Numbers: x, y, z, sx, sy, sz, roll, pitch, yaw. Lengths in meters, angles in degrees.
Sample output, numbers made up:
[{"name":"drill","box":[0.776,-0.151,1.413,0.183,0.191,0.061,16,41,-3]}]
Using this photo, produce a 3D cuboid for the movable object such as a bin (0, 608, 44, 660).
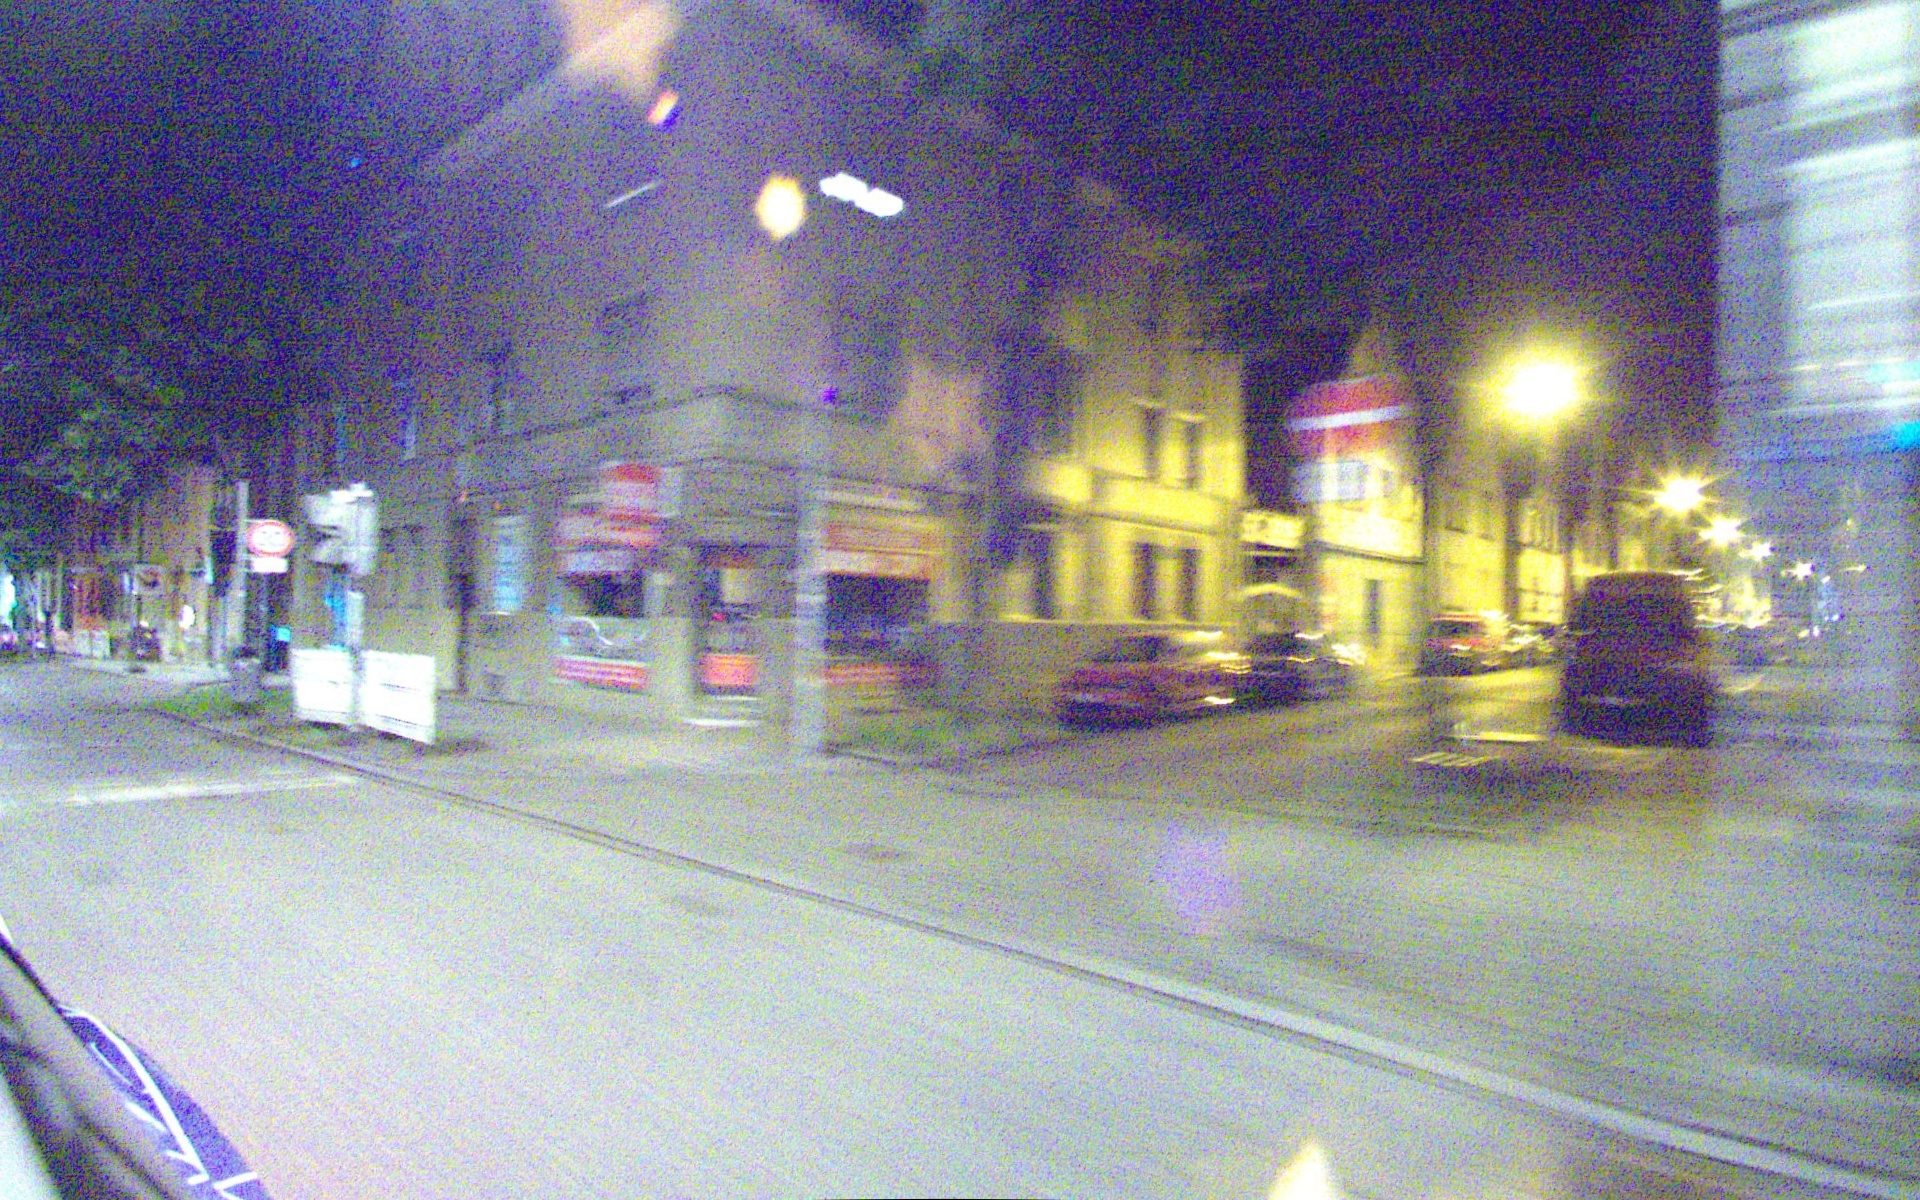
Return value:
[{"name":"movable object such as a bin","box":[-50.215,1.824,54.010,3.909,2.647,1.554,-2,-3,43]}]

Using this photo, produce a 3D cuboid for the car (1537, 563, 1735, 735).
[{"name":"car","box":[12.214,0.742,18.069,2.246,2.563,5.785,2,1,40]}]

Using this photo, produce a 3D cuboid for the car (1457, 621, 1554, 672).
[{"name":"car","box":[18.362,1.535,33.962,1.871,1.567,4.184,-4,-3,42]}]

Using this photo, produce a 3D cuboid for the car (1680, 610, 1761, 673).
[{"name":"car","box":[25.830,1.347,34.308,1.886,1.898,4.225,3,2,40]}]

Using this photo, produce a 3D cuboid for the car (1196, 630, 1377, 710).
[{"name":"car","box":[6.550,1.311,20.053,1.871,1.397,4.184,-2,-3,42]}]

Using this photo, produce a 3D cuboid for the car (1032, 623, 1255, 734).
[{"name":"car","box":[3.032,1.184,16.311,1.871,1.567,3.708,-2,-3,42]}]

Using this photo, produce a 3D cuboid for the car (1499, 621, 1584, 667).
[{"name":"car","box":[21.695,1.617,37.697,1.871,1.567,4.184,-4,-3,42]}]

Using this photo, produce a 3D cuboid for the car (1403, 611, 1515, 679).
[{"name":"car","box":[14.825,1.318,29.983,1.871,1.856,4.184,-2,-3,42]}]

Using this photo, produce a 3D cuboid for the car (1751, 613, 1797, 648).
[{"name":"car","box":[48.393,1.790,60.141,1.886,1.898,4.224,3,1,41]}]

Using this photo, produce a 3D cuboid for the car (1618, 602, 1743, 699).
[{"name":"car","box":[16.211,1.032,22.674,1.886,1.898,4.225,3,2,40]}]
